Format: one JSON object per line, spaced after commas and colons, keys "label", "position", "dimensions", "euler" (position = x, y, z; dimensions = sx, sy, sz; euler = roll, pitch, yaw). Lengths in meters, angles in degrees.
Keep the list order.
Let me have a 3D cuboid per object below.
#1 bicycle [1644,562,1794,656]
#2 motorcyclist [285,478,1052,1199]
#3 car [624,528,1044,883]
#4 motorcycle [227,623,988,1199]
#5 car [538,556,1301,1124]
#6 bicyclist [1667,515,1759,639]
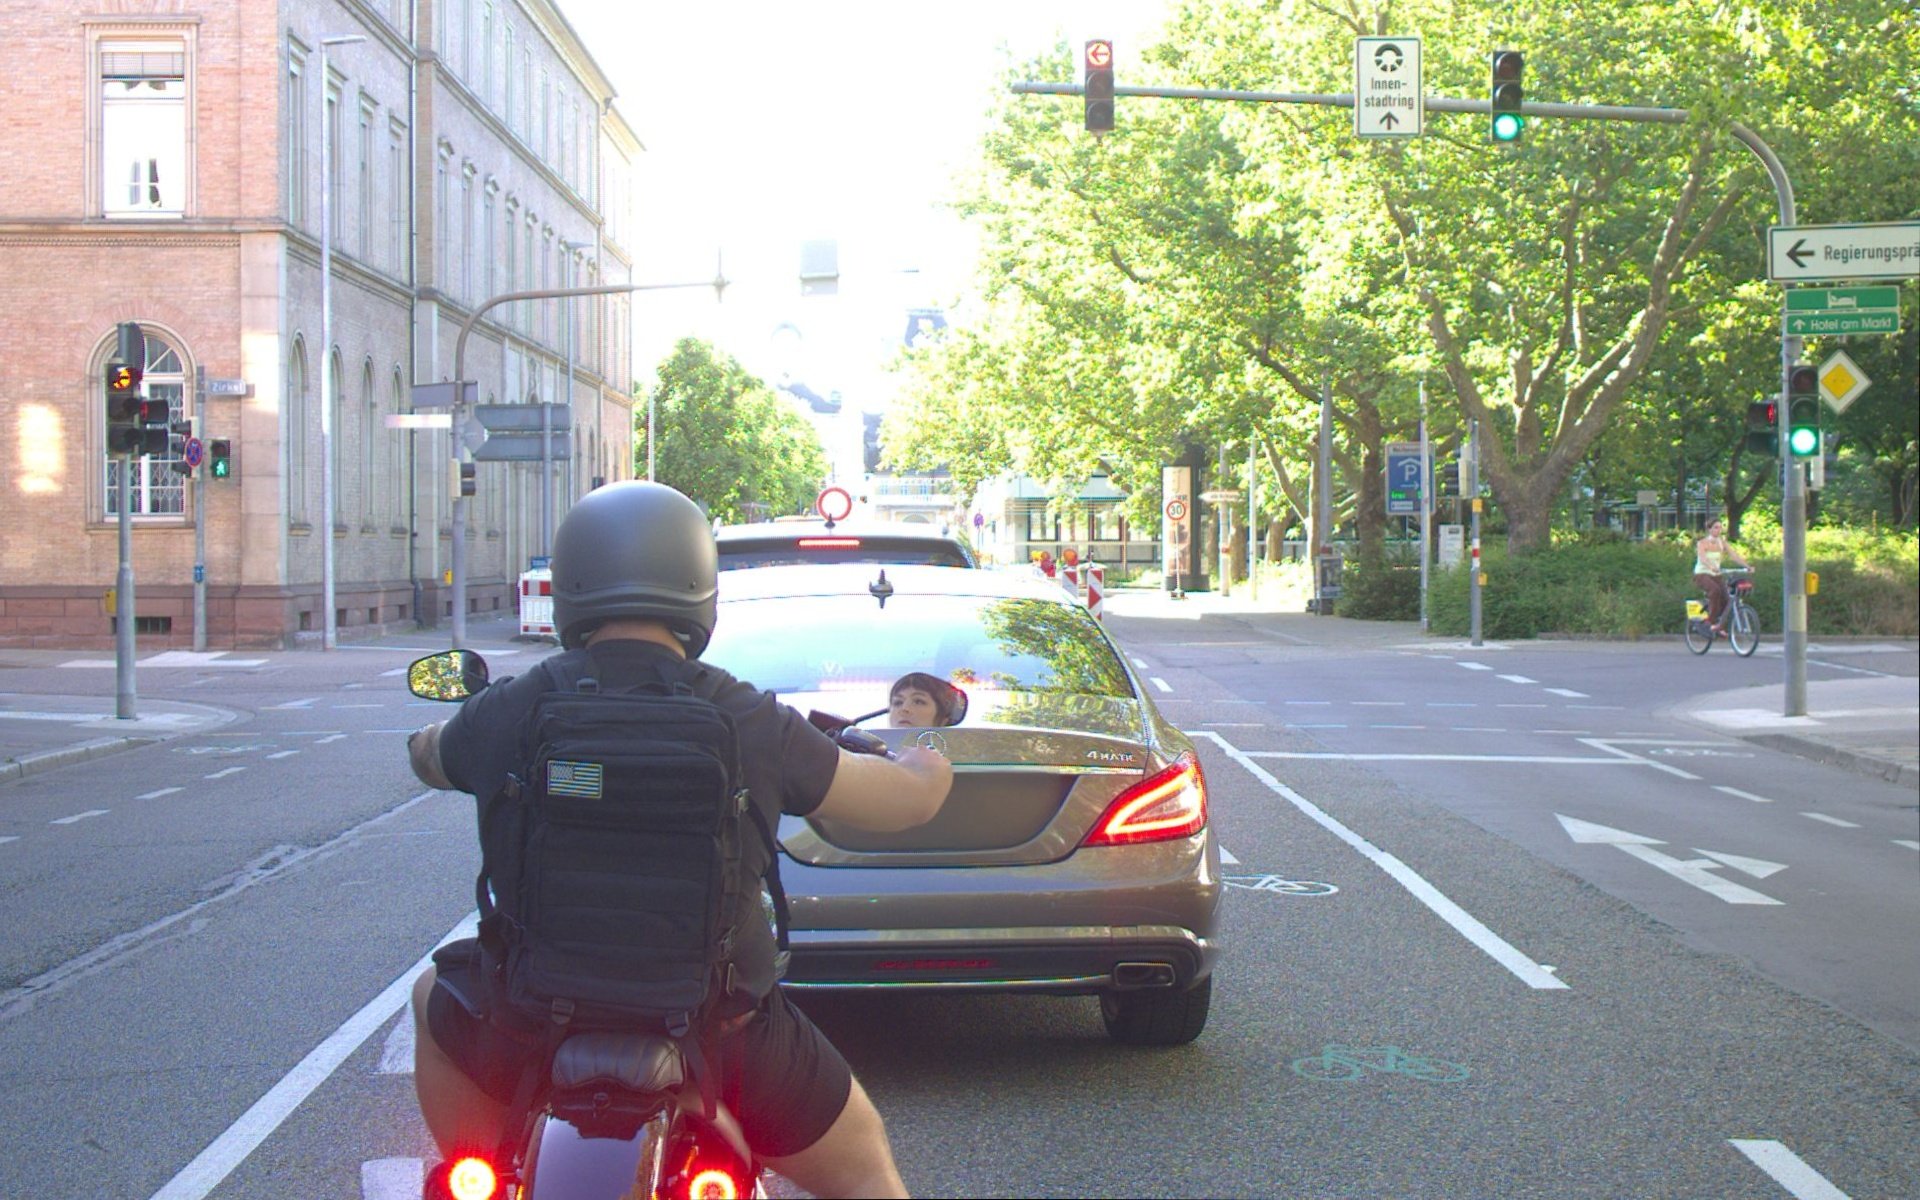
{"label": "bicycle", "position": [9.754, 0.106, 44.278], "dimensions": [0.715, 1.168, 2.176], "euler": [1, 1, -24]}
{"label": "motorcyclist", "position": [-0.418, 0.620, 5.278], "dimensions": [1.061, 1.577, 0.908], "euler": [1, 0, -1]}
{"label": "car", "position": [-0.649, 0.419, 16.780], "dimensions": [1.813, 1.530, 3.849], "euler": [0, 1, -3]}
{"label": "motorcycle", "position": [-0.468, 0.739, 5.549], "dimensions": [0.962, 1.352, 2.320], "euler": [1, 1, -1]}
{"label": "car", "position": [-0.350, 0.588, 11.102], "dimensions": [1.901, 1.436, 4.290], "euler": [0, 1, -8]}
{"label": "bicyclist", "position": [9.712, -0.300, 44.365], "dimensions": [0.716, 1.577, 0.936], "euler": [1, 0, -25]}
